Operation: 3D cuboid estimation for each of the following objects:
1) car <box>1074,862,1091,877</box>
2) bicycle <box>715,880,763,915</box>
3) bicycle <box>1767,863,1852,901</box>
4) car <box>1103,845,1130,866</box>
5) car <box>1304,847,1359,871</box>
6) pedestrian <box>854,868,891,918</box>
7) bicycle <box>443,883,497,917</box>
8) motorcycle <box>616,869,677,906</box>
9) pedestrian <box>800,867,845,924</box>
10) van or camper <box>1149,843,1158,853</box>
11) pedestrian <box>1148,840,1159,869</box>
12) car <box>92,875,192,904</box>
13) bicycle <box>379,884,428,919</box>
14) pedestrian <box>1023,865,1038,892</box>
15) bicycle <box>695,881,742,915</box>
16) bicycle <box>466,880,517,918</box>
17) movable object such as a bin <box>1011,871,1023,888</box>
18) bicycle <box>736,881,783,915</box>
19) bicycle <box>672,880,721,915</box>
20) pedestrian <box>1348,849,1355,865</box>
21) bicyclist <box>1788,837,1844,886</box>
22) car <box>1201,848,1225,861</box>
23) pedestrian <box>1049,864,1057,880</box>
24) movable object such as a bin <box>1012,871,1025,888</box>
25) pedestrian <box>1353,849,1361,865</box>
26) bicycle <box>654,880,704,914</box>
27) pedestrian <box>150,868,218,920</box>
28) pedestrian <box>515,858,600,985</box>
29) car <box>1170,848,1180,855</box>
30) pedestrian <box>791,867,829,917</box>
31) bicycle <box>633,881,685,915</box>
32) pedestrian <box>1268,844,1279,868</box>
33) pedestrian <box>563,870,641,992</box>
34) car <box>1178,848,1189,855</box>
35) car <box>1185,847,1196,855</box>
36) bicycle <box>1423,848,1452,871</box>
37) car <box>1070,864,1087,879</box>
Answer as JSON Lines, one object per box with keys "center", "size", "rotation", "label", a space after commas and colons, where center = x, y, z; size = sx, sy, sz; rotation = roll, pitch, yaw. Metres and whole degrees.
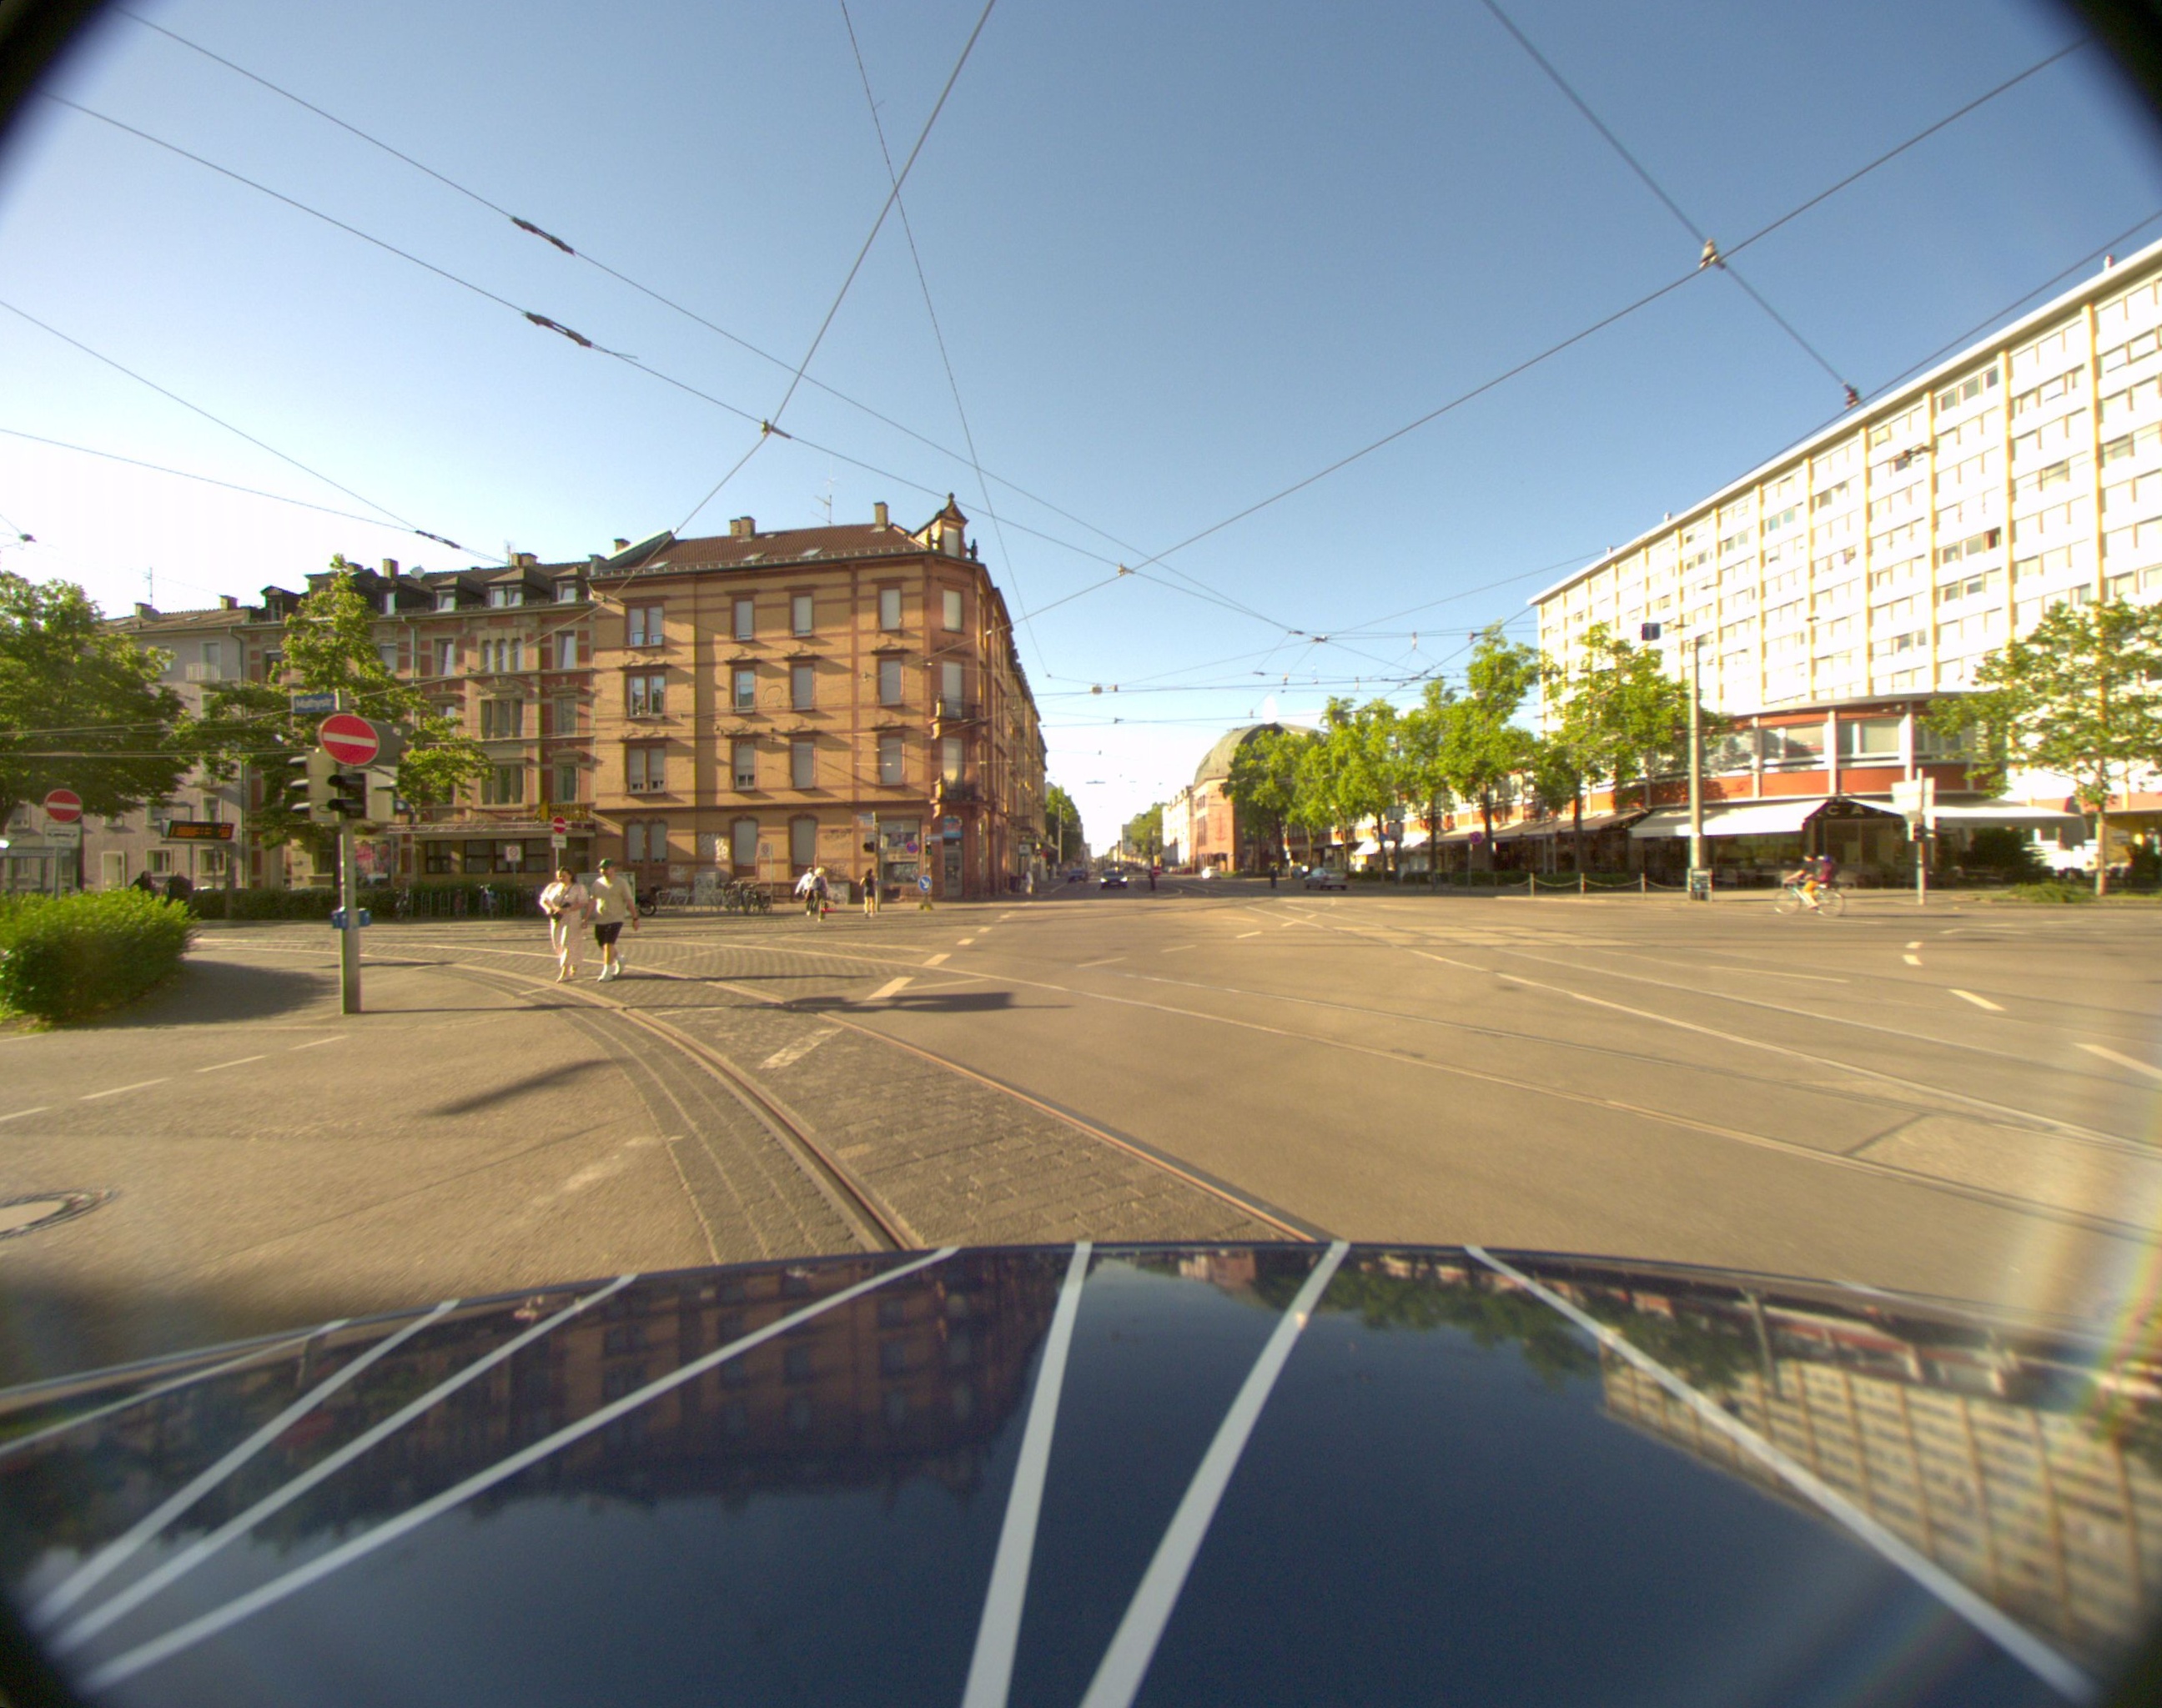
{"center": [0.243, 1.881, 93.345], "size": [1.694, 1.703, 4.617], "rotation": [-2, 0, 4], "label": "car"}
{"center": [-12.649, 1.589, 28.172], "size": [0.753, 1.202, 2.312], "rotation": [0, -1, -1], "label": "bicycle"}
{"center": [19.771, 0.739, 20.666], "size": [0.595, 0.967, 1.818], "rotation": [0, 1, 2], "label": "bicycle"}
{"center": [2.591, 0.096, 56.015], "size": [1.815, 1.415, 4.154], "rotation": [-2, 0, 1], "label": "car"}
{"center": [15.787, 0.302, 48.149], "size": [1.998, 1.443, 4.650], "rotation": [0, -1, 0], "label": "car"}
{"center": [-6.687, 1.236, 24.360], "size": [0.633, 1.529, 0.944], "rotation": [1, 1, 33], "label": "pedestrian"}
{"center": [-21.760, 1.623, 27.115], "size": [0.651, 1.122, 2.038], "rotation": [0, -2, -13], "label": "bicycle"}
{"center": [-16.841, 1.307, 29.438], "size": [1.948, 1.395, 0.864], "rotation": [2, -3, -35], "label": "motorcycle"}
{"center": [-7.711, 1.221, 22.710], "size": [0.924, 1.622, 0.942], "rotation": [0, 1, 9], "label": "pedestrian"}
{"center": [19.765, -1.652, 207.255], "size": [2.041, 2.722, 7.021], "rotation": [1, -1, 1], "label": "van or camper"}
{"center": [4.511, 0.038, 47.107], "size": [0.559, 1.753, 0.895], "rotation": [1, 0, 2], "label": "pedestrian"}
{"center": [-49.027, 1.844, 39.695], "size": [3.761, 1.412, 1.746], "rotation": [0, 1, 12], "label": "car"}
{"center": [-23.028, 1.607, 25.869], "size": [0.652, 1.122, 2.036], "rotation": [0, -2, -24], "label": "bicycle"}
{"center": [-3.000, 1.451, 45.205], "size": [0.684, 1.598, 0.730], "rotation": [0, 0, -21], "label": "pedestrian"}
{"center": [-13.390, 1.614, 28.160], "size": [0.650, 1.202, 2.312], "rotation": [0, -2, 0], "label": "bicycle"}
{"center": [-21.024, 1.588, 27.146], "size": [0.651, 1.202, 2.037], "rotation": [0, 0, -13], "label": "bicycle"}
{"center": [-4.047, 1.600, 47.968], "size": [0.664, 1.066, 0.545], "rotation": [3, 0, 4], "label": "movable object such as a bin"}
{"center": [-11.832, 1.605, 28.069], "size": [0.753, 1.202, 2.312], "rotation": [0, -2, -1], "label": "bicycle"}
{"center": [-14.213, 1.584, 28.139], "size": [0.650, 1.202, 2.312], "rotation": [0, -2, 0], "label": "bicycle"}
{"center": [29.134, 0.335, 81.896], "size": [0.573, 1.761, 0.706], "rotation": [0, 0, 3], "label": "pedestrian"}
{"center": [19.771, 0.190, 20.453], "size": [0.590, 1.278, 0.927], "rotation": [0, 1, 2], "label": "bicyclist"}
{"center": [15.441, 0.029, 88.877], "size": [1.998, 1.443, 4.502], "rotation": [0, -1, 0], "label": "car"}
{"center": [-3.346, 2.163, 90.488], "size": [0.685, 1.900, 1.063], "rotation": [-2, 1, 4], "label": "pedestrian"}
{"center": [-4.004, 1.643, 48.562], "size": [0.664, 1.066, 0.591], "rotation": [3, 0, 4], "label": "movable object such as a bin"}
{"center": [29.746, 0.327, 81.851], "size": [0.573, 1.740, 0.706], "rotation": [0, 0, 3], "label": "pedestrian"}
{"center": [-14.913, 1.567, 28.262], "size": [0.650, 1.202, 2.312], "rotation": [0, -2, 0], "label": "bicycle"}
{"center": [-29.165, 1.277, 24.729], "size": [1.010, 1.622, 1.020], "rotation": [0, 1, -15], "label": "pedestrian"}
{"center": [-7.508, 0.939, 10.915], "size": [0.644, 1.735, 0.706], "rotation": [-2, 1, 25], "label": "pedestrian"}
{"center": [21.358, -0.528, 172.785], "size": [1.855, 1.445, 3.854], "rotation": [-1, -1, 2], "label": "car"}
{"center": [-9.081, 1.255, 25.518], "size": [0.925, 1.622, 1.009], "rotation": [0, 1, -2], "label": "pedestrian"}
{"center": [-15.657, 1.617, 28.287], "size": [0.650, 1.202, 2.312], "rotation": [0, -2, 0], "label": "bicycle"}
{"center": [12.355, 0.115, 48.840], "size": [0.501, 1.509, 0.859], "rotation": [1, 0, 2], "label": "pedestrian"}
{"center": [-6.786, 1.063, 10.781], "size": [0.701, 1.645, 0.633], "rotation": [0, 1, 24], "label": "pedestrian"}
{"center": [21.060, -0.501, 156.482], "size": [1.855, 1.445, 3.854], "rotation": [-1, -1, 2], "label": "car"}
{"center": [21.137, -0.610, 146.620], "size": [1.753, 1.445, 3.471], "rotation": [-1, -1, 0], "label": "car"}
{"center": [19.330, 0.313, 41.223], "size": [0.498, 1.179, 2.235], "rotation": [0, -1, 0], "label": "bicycle"}
{"center": [-0.219, 1.871, 81.002], "size": [1.694, 1.442, 4.360], "rotation": [-2, -1, 1], "label": "car"}
